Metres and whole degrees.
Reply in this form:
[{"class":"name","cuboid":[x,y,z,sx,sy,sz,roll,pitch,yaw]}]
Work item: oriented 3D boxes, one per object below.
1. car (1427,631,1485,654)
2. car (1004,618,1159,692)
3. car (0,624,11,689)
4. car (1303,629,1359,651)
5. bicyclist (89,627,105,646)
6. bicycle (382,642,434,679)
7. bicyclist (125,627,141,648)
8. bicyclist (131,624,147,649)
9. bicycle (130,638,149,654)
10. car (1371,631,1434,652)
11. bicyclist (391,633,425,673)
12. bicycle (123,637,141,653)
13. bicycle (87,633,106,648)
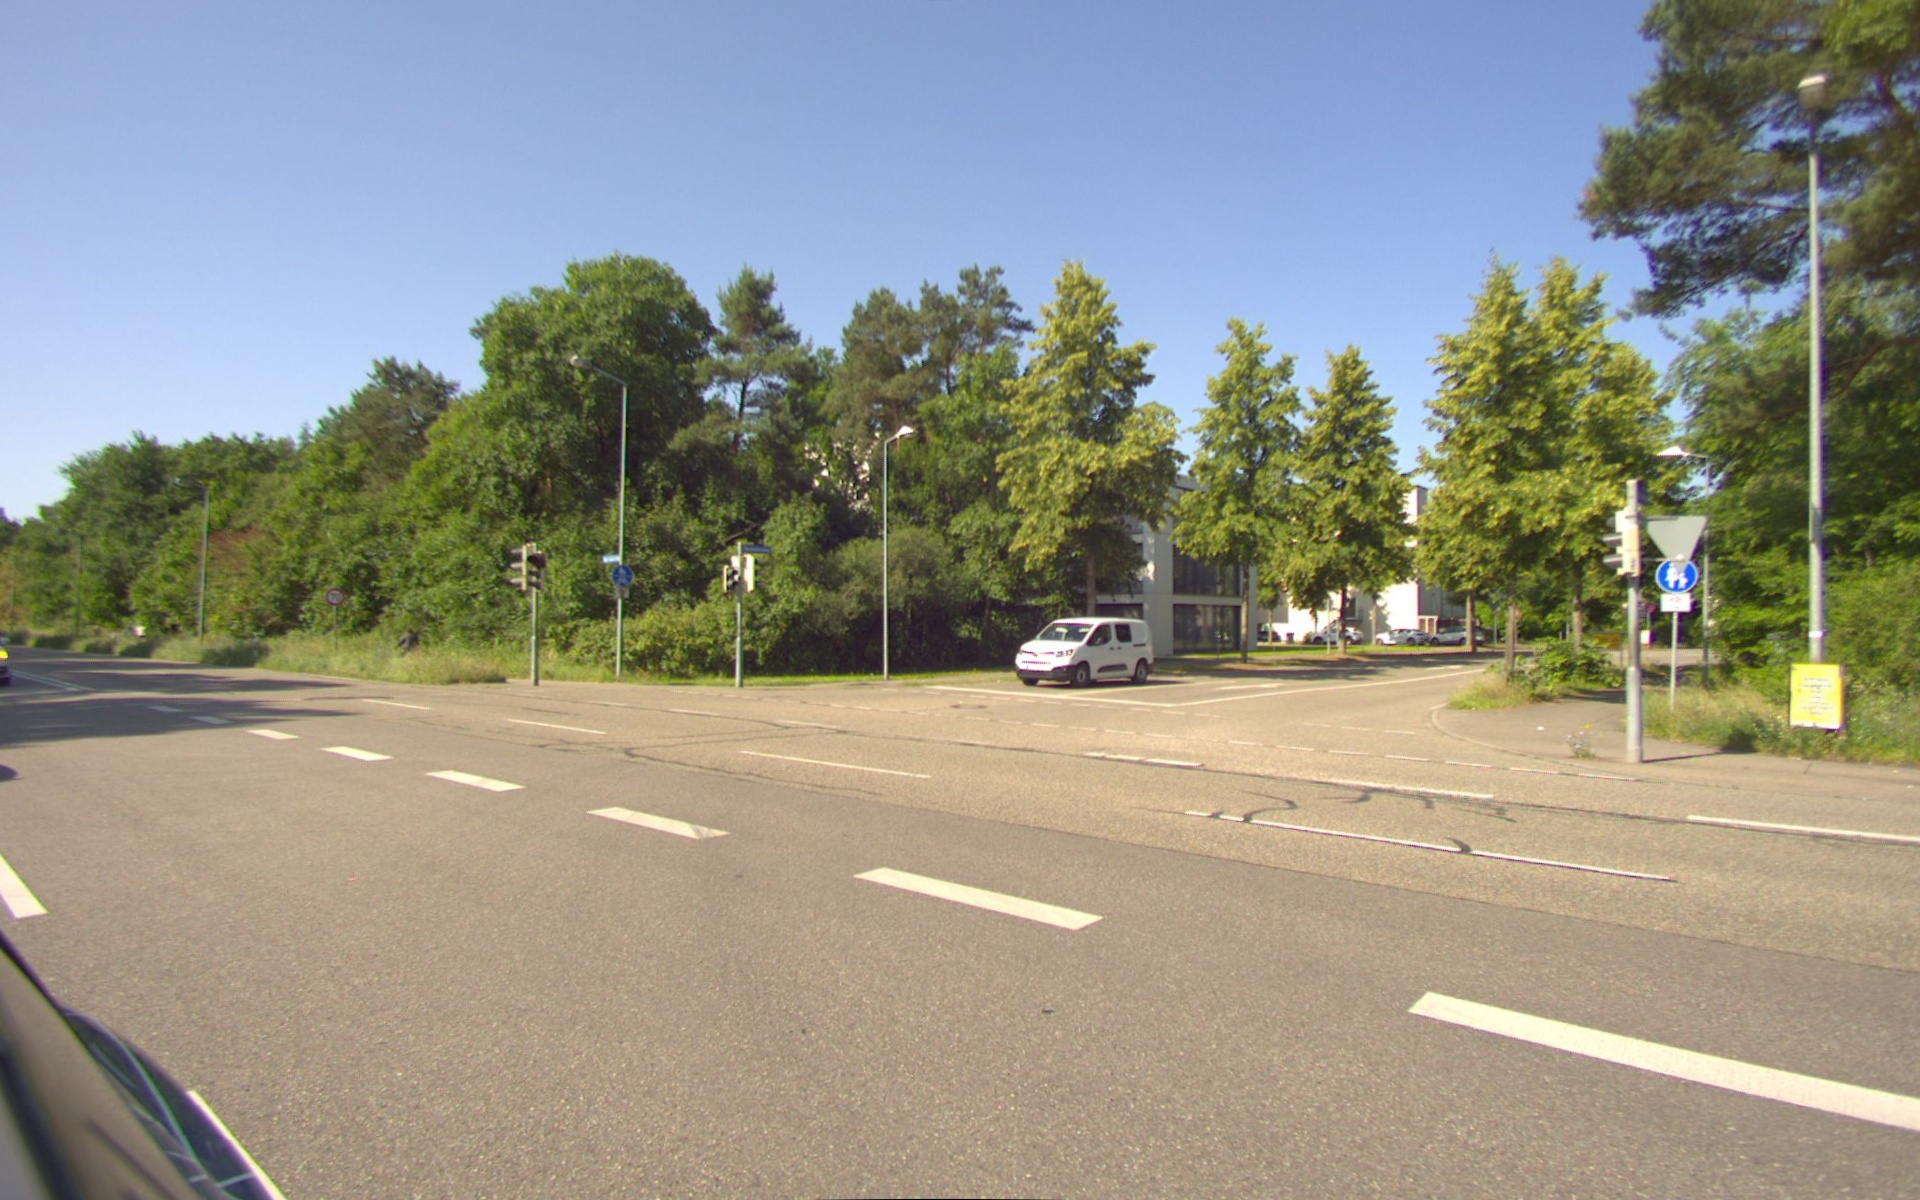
[{"class":"car","cuboid":[37.733,3.183,77.045,1.572,1.575,3.719,-1,0,-26]},{"class":"car","cuboid":[3.318,1.427,26.886,1.851,1.791,4.597,-1,-3,41]},{"class":"car","cuboid":[-23.220,1.312,23.167,4.420,1.435,1.765,-2,0,41]},{"class":"car","cuboid":[31.278,3.339,85.362,3.996,1.741,1.974,-1,0,39]},{"class":"bicyclist","cuboid":[-60.859,2.575,71.351,0.974,1.352,0.668,-1,0,38]},{"class":"bicycle","cuboid":[-18.760,2.031,34.375,2.370,1.172,0.725,-1,-2,39]},{"class":"bicyclist","cuboid":[-52.058,2.367,63.693,0.727,1.273,0.693,-1,0,42]},{"class":"bicyclist","cuboid":[-49.058,2.165,60.499,0.944,1.477,0.604,-1,0,43]},{"class":"bicycle","cuboid":[-49.025,2.753,60.463,2.138,0.921,0.597,-2,-2,43]},{"class":"car","cuboid":[35.347,3.272,80.887,1.749,1.497,4.282,-1,0,-40]},{"class":"bicyclist","cuboid":[-18.742,1.777,34.373,0.882,1.321,0.714,-1,-2,39]},{"class":"bicycle","cuboid":[-52.109,2.830,63.680,2.138,0.965,0.597,-2,-2,43]},{"class":"bicycle","cuboid":[-60.873,2.861,71.366,1.911,0.963,0.668,-1,0,38]}]
